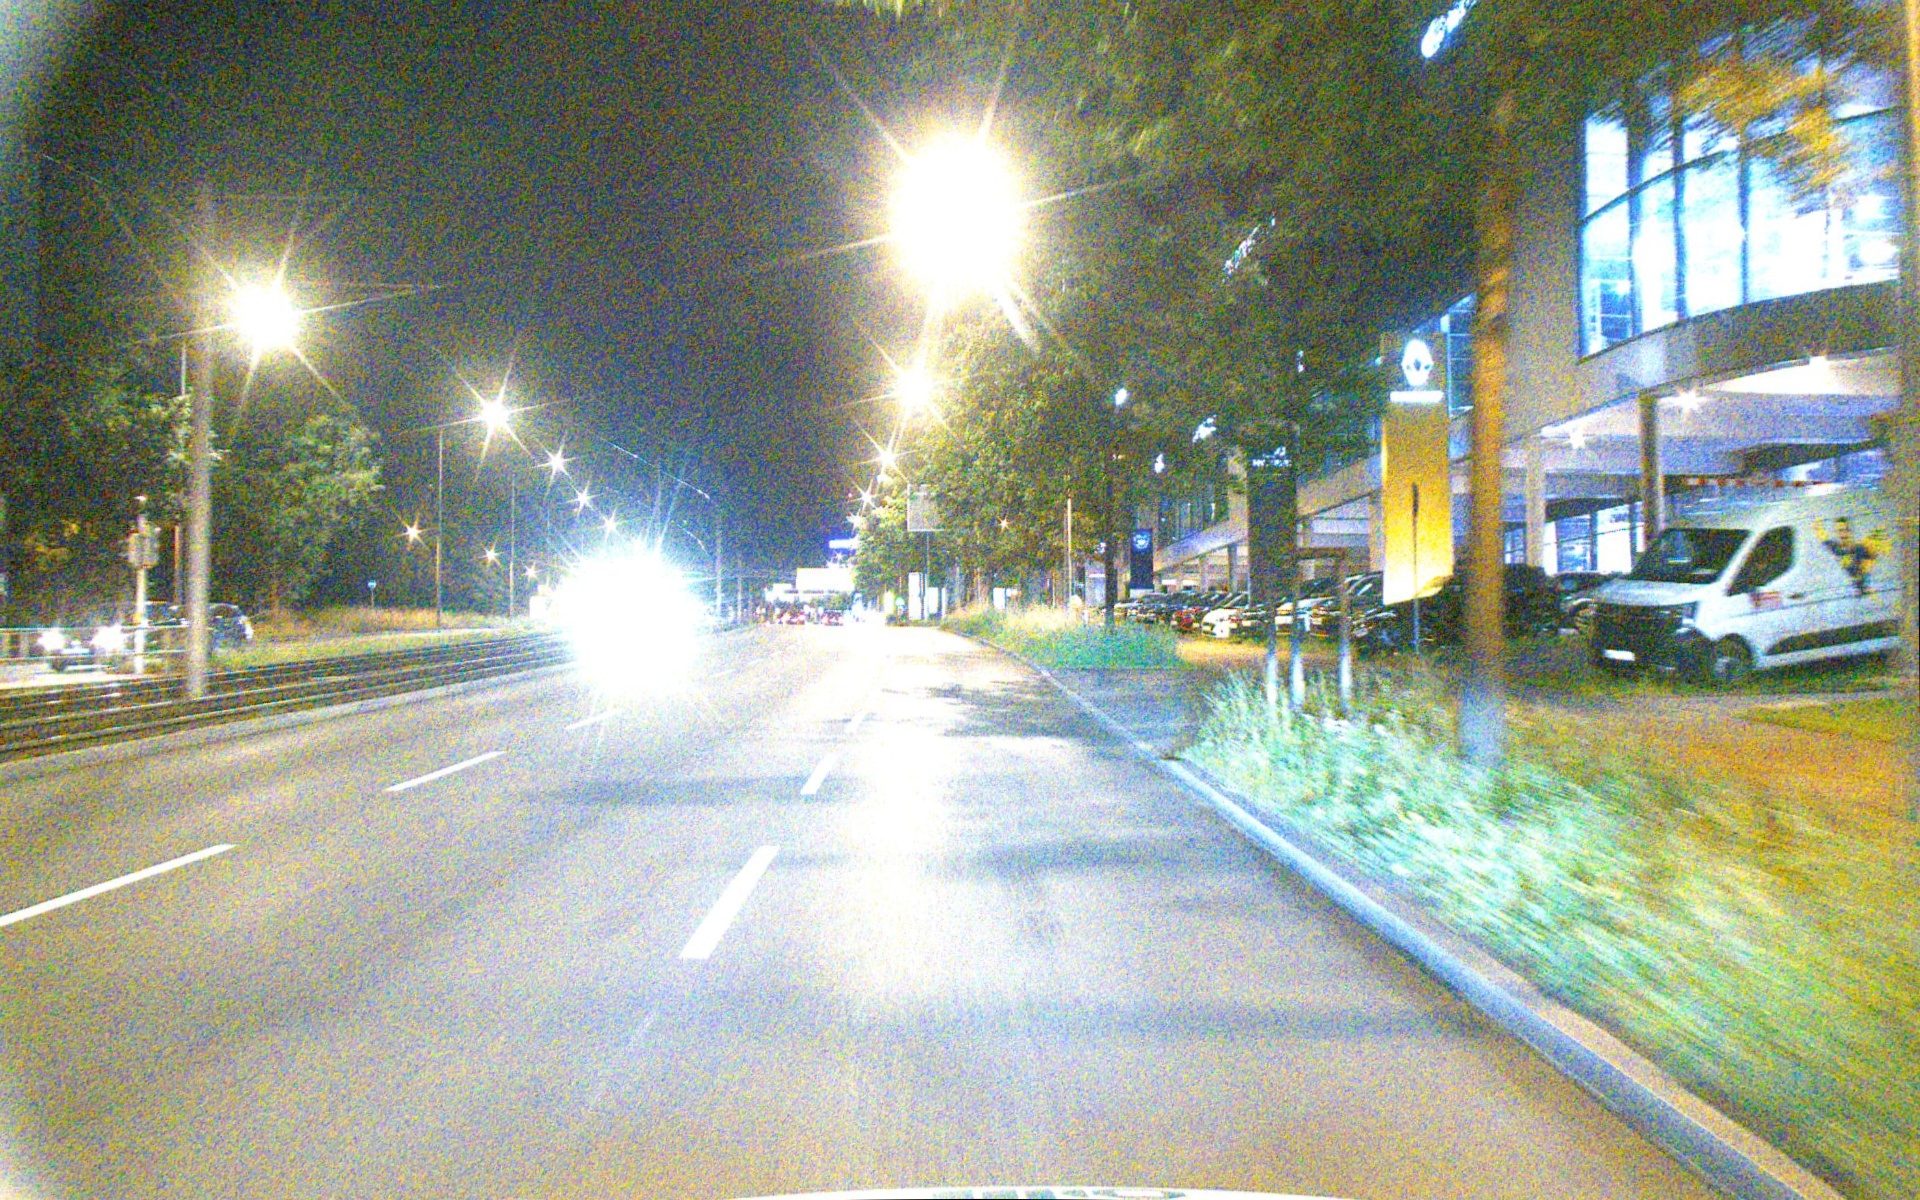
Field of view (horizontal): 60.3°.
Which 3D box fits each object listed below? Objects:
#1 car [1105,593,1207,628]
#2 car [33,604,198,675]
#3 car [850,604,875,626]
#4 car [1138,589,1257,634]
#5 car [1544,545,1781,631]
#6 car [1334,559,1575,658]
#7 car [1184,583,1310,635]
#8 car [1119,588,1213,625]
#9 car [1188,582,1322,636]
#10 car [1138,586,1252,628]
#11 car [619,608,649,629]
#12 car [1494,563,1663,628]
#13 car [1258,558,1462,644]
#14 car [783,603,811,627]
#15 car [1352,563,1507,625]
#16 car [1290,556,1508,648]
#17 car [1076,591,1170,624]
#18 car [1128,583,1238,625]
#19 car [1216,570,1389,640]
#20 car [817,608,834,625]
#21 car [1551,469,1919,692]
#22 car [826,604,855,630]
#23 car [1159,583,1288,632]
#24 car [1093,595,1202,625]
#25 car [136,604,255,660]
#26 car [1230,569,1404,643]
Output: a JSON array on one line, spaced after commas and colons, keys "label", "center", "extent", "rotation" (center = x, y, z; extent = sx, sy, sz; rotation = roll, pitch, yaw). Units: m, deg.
[{"label": "car", "center": [8.408, 0.416, 70.976], "extent": [3.928, 1.448, 1.898], "rotation": [0, 1, -20]}, {"label": "car", "center": [-19.070, 0.898, 37.550], "extent": [1.749, 1.523, 4.171], "rotation": [0, -1, -3]}, {"label": "car", "center": [-9.548, 1.450, 162.365], "extent": [2.379, 2.150, 4.823], "rotation": [0, -1, -3]}, {"label": "car", "center": [8.700, 0.408, 60.673], "extent": [3.919, 1.405, 1.803], "rotation": [-3, 1, -13]}, {"label": "car", "center": [15.136, -0.238, 35.833], "extent": [1.705, 1.537, 4.378], "rotation": [-3, -2, -41]}, {"label": "car", "center": [9.783, 0.156, 32.834], "extent": [4.130, 1.692, 1.954], "rotation": [-3, 0, -13]}, {"label": "car", "center": [9.473, 0.290, 54.651], "extent": [3.707, 1.402, 1.709], "rotation": [-4, 1, -16]}, {"label": "car", "center": [8.514, 0.276, 68.310], "extent": [3.557, 1.459, 1.666], "rotation": [1, -1, -26]}, {"label": "car", "center": [9.278, 0.262, 52.110], "extent": [3.741, 1.478, 1.710], "rotation": [-3, 1, -16]}, {"label": "car", "center": [8.927, 0.257, 62.895], "extent": [3.936, 1.416, 1.812], "rotation": [-2, 1, -25]}, {"label": "car", "center": [-26.566, 1.507, 134.935], "extent": [1.744, 1.743, 4.224], "rotation": [0, -1, -2]}, {"label": "car", "center": [14.866, -0.091, 39.873], "extent": [1.623, 1.447, 3.453], "rotation": [-1, -1, -39]}, {"label": "car", "center": [9.816, 0.020, 40.684], "extent": [4.385, 1.716, 1.993], "rotation": [-5, 1, -13]}, {"label": "car", "center": [-14.072, 1.326, 142.984], "extent": [2.217, 2.049, 4.823], "rotation": [0, -1, -3]}, {"label": "car", "center": [15.340, -0.167, 54.253], "extent": [1.817, 1.951, 4.760], "rotation": [1, -1, -39]}, {"label": "car", "center": [10.037, 0.031, 37.915], "extent": [4.384, 1.841, 1.993], "rotation": [-3, 0, -13]}, {"label": "car", "center": [7.746, 0.365, 78.659], "extent": [4.055, 1.445, 1.868], "rotation": [1, -1, -16]}, {"label": "car", "center": [8.862, 0.171, 65.804], "extent": [3.932, 1.495, 1.821], "rotation": [-2, 0, -22]}, {"label": "car", "center": [9.691, 0.146, 46.883], "extent": [4.383, 1.574, 1.764], "rotation": [-5, 0, -12]}, {"label": "car", "center": [-15.564, 1.905, 191.605], "extent": [1.849, 1.892, 3.998], "rotation": [0, -1, -3]}, {"label": "car", "center": [11.509, -0.369, 23.094], "extent": [5.929, 2.572, 2.271], "rotation": [-5, 1, -19]}, {"label": "car", "center": [-10.254, 1.444, 142.060], "extent": [2.309, 2.166, 4.823], "rotation": [0, -1, -3]}, {"label": "car", "center": [9.123, 0.262, 57.286], "extent": [3.962, 1.397, 1.816], "rotation": [-4, 1, -19]}, {"label": "car", "center": [8.367, 0.412, 73.696], "extent": [4.575, 1.286, 1.930], "rotation": [0, 1, -28]}, {"label": "car", "center": [-21.999, 0.915, 47.723], "extent": [1.626, 1.543, 3.910], "rotation": [0, -1, -1]}, {"label": "car", "center": [9.345, 0.140, 43.407], "extent": [4.011, 1.595, 1.848], "rotation": [-4, 1, -13]}]
